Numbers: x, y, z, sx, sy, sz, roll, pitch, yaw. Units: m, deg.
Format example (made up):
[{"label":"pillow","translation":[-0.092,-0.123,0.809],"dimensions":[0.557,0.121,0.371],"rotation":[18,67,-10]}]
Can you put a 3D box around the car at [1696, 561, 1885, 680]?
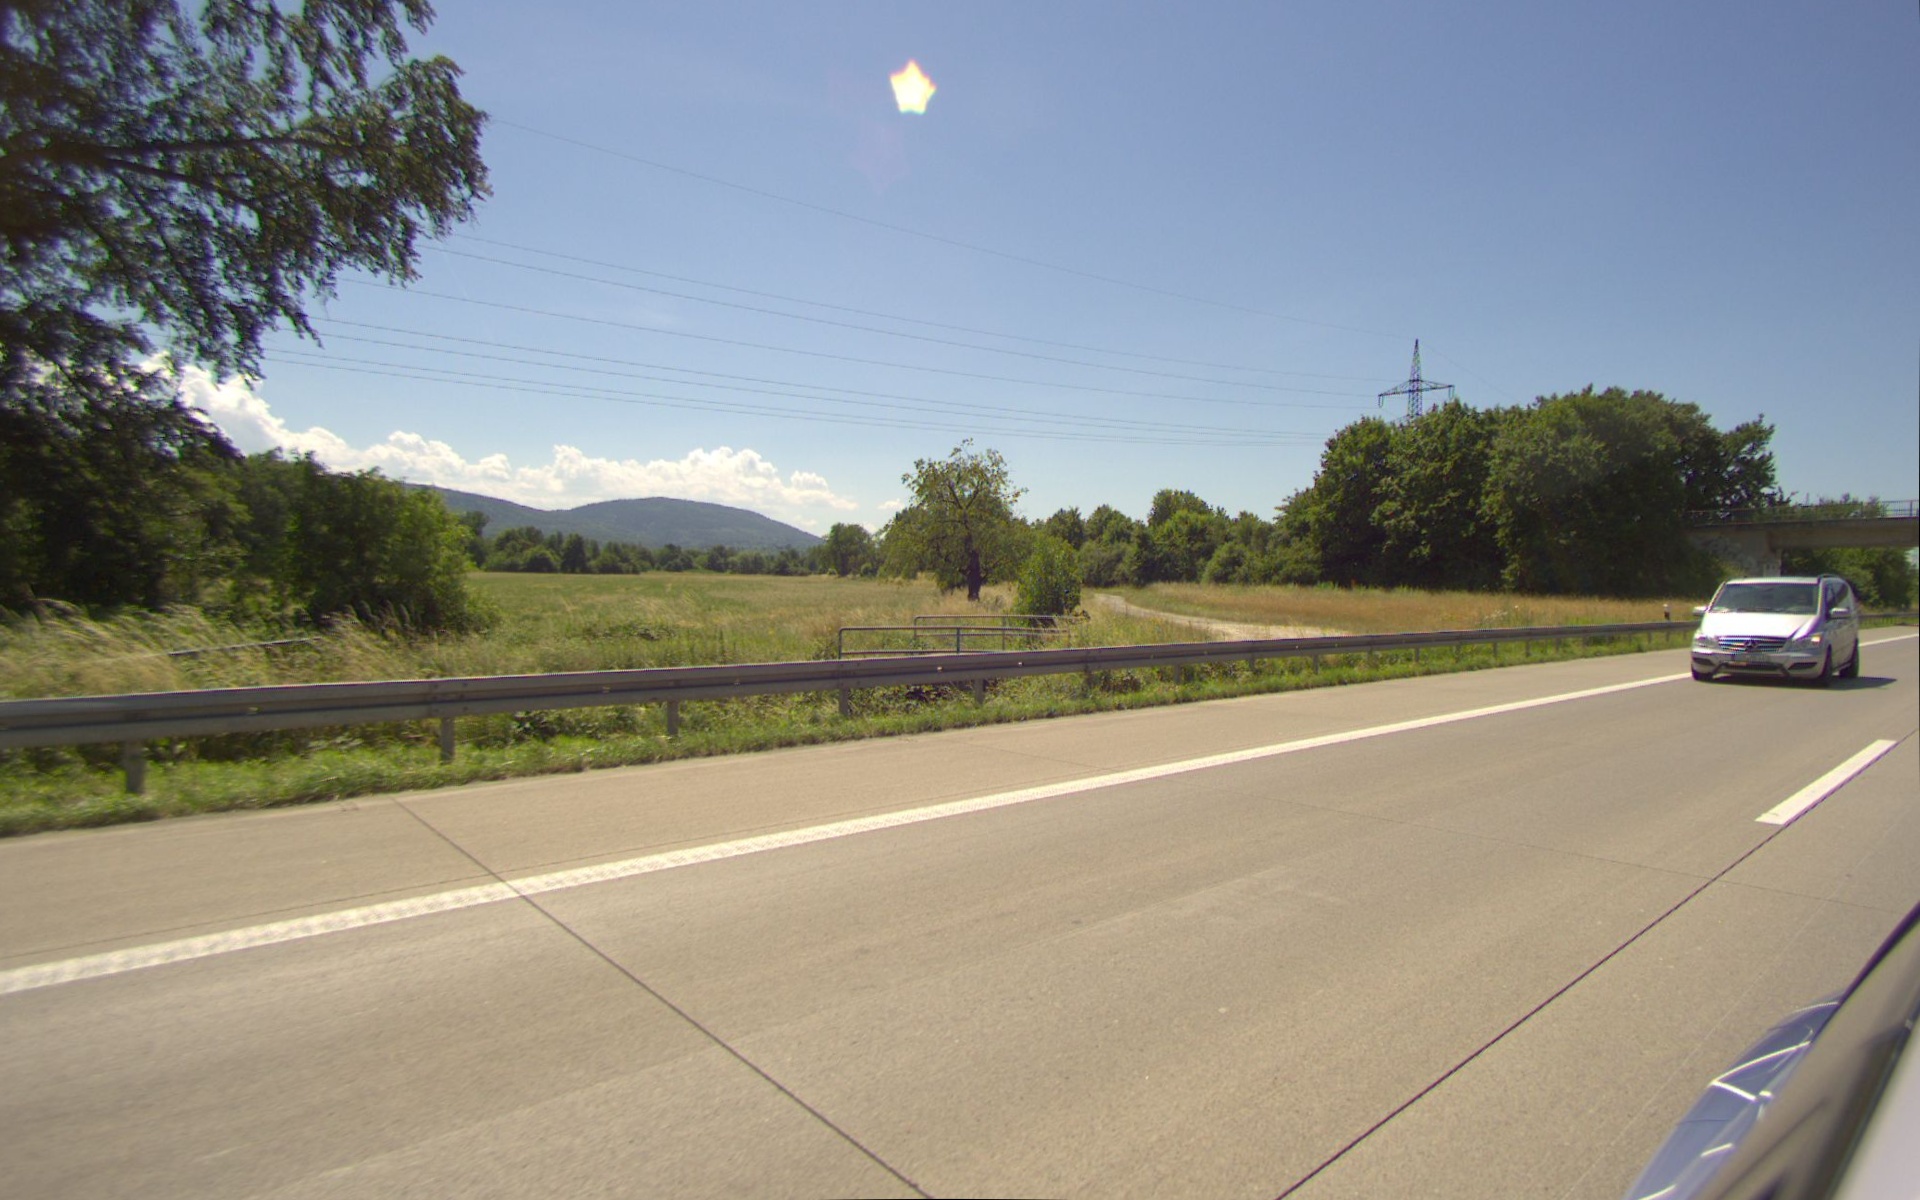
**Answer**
[{"label":"car","translation":[15.469,0.323,18.735],"dimensions":[5.187,1.913,1.882],"rotation":[0,1,-41]}]
